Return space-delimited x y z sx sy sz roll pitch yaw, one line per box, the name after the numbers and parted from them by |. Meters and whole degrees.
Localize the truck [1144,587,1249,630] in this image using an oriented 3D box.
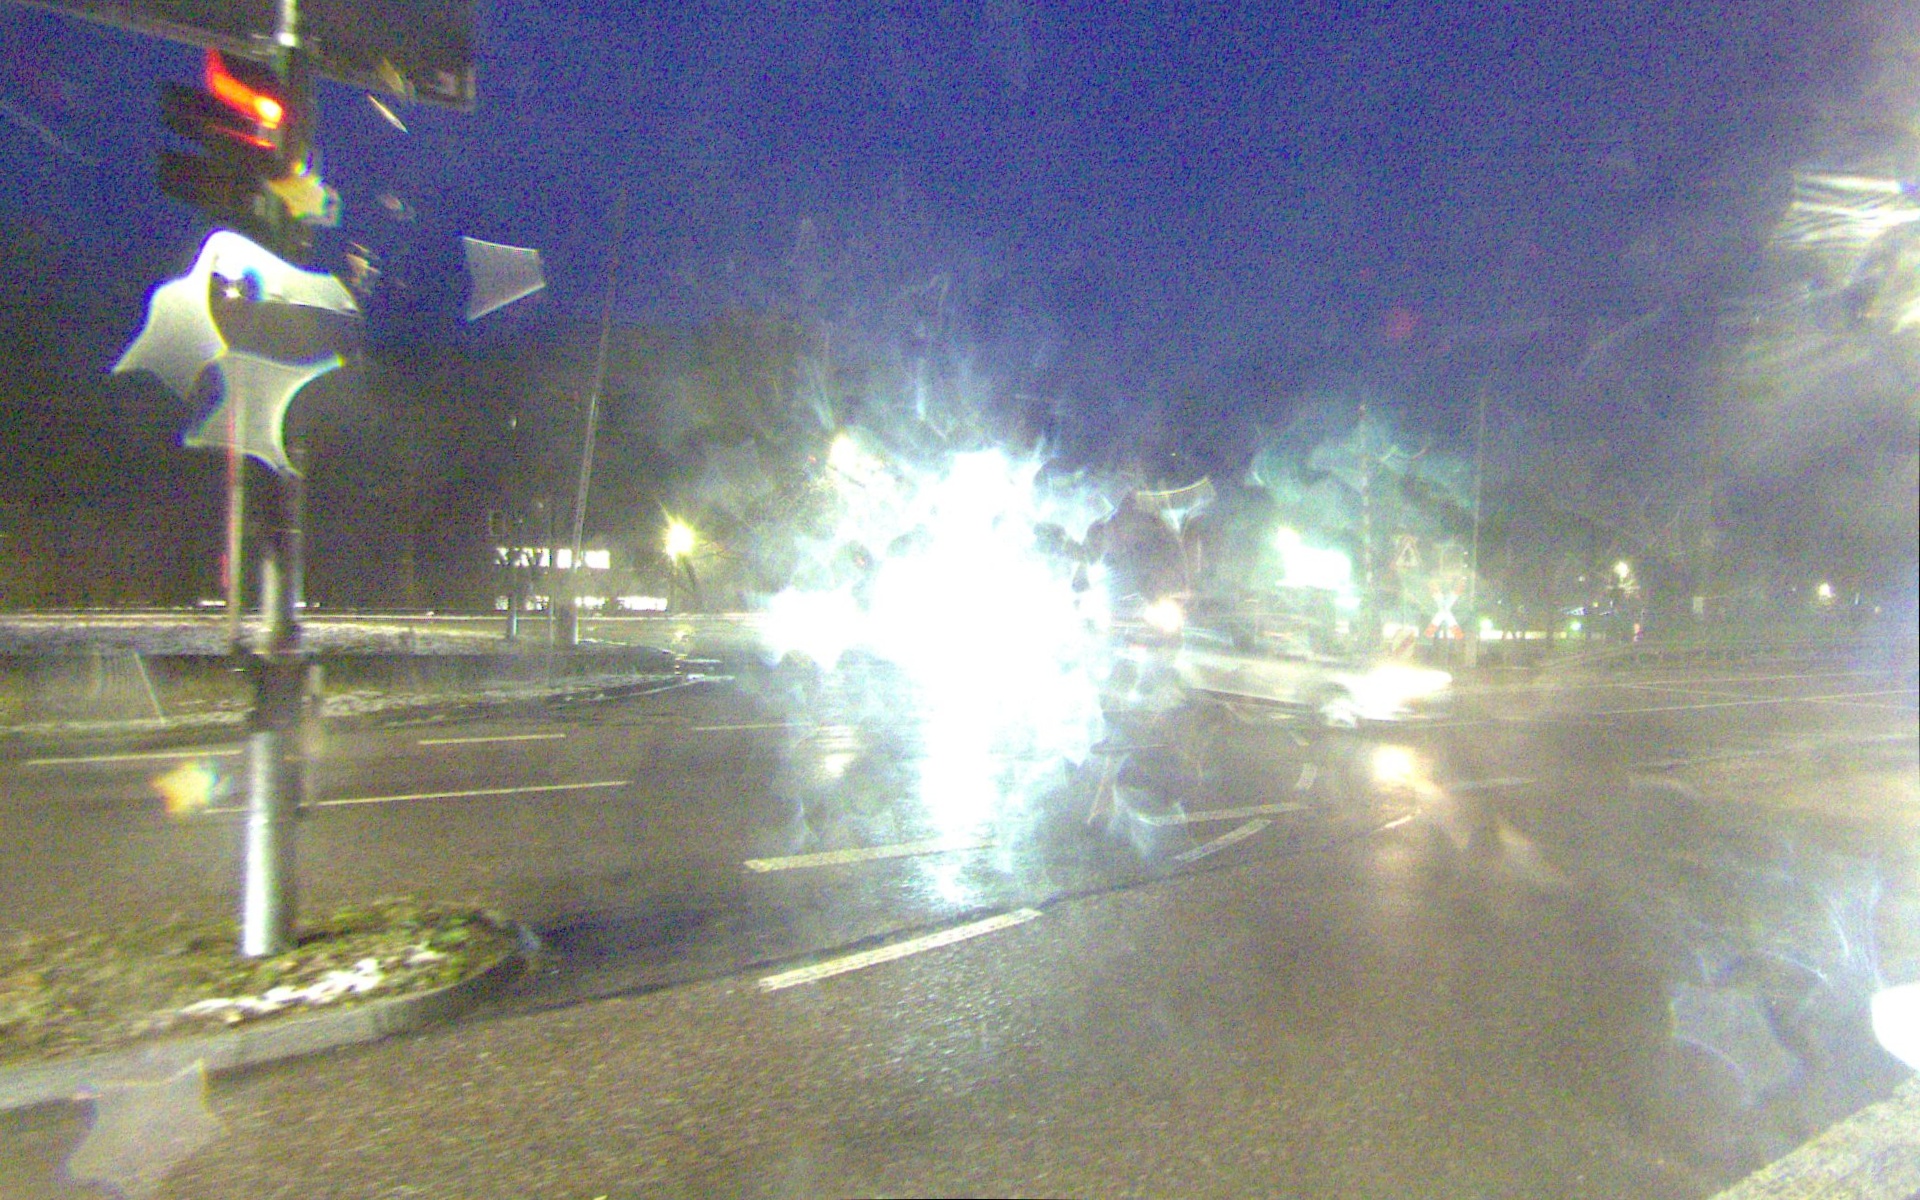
13.480 0.493 57.149 5.946 2.302 1.985 2 0 -28 | truck

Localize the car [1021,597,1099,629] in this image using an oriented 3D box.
5.136 0.696 51.539 3.968 1.539 1.707 2 0 -41 | car

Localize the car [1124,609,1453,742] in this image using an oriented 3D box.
4.523 0.955 14.402 1.504 1.538 4.322 1 0 -41 | car

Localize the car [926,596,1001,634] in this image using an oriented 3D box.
0.200 0.656 44.934 1.695 1.539 3.995 2 0 27 | car
